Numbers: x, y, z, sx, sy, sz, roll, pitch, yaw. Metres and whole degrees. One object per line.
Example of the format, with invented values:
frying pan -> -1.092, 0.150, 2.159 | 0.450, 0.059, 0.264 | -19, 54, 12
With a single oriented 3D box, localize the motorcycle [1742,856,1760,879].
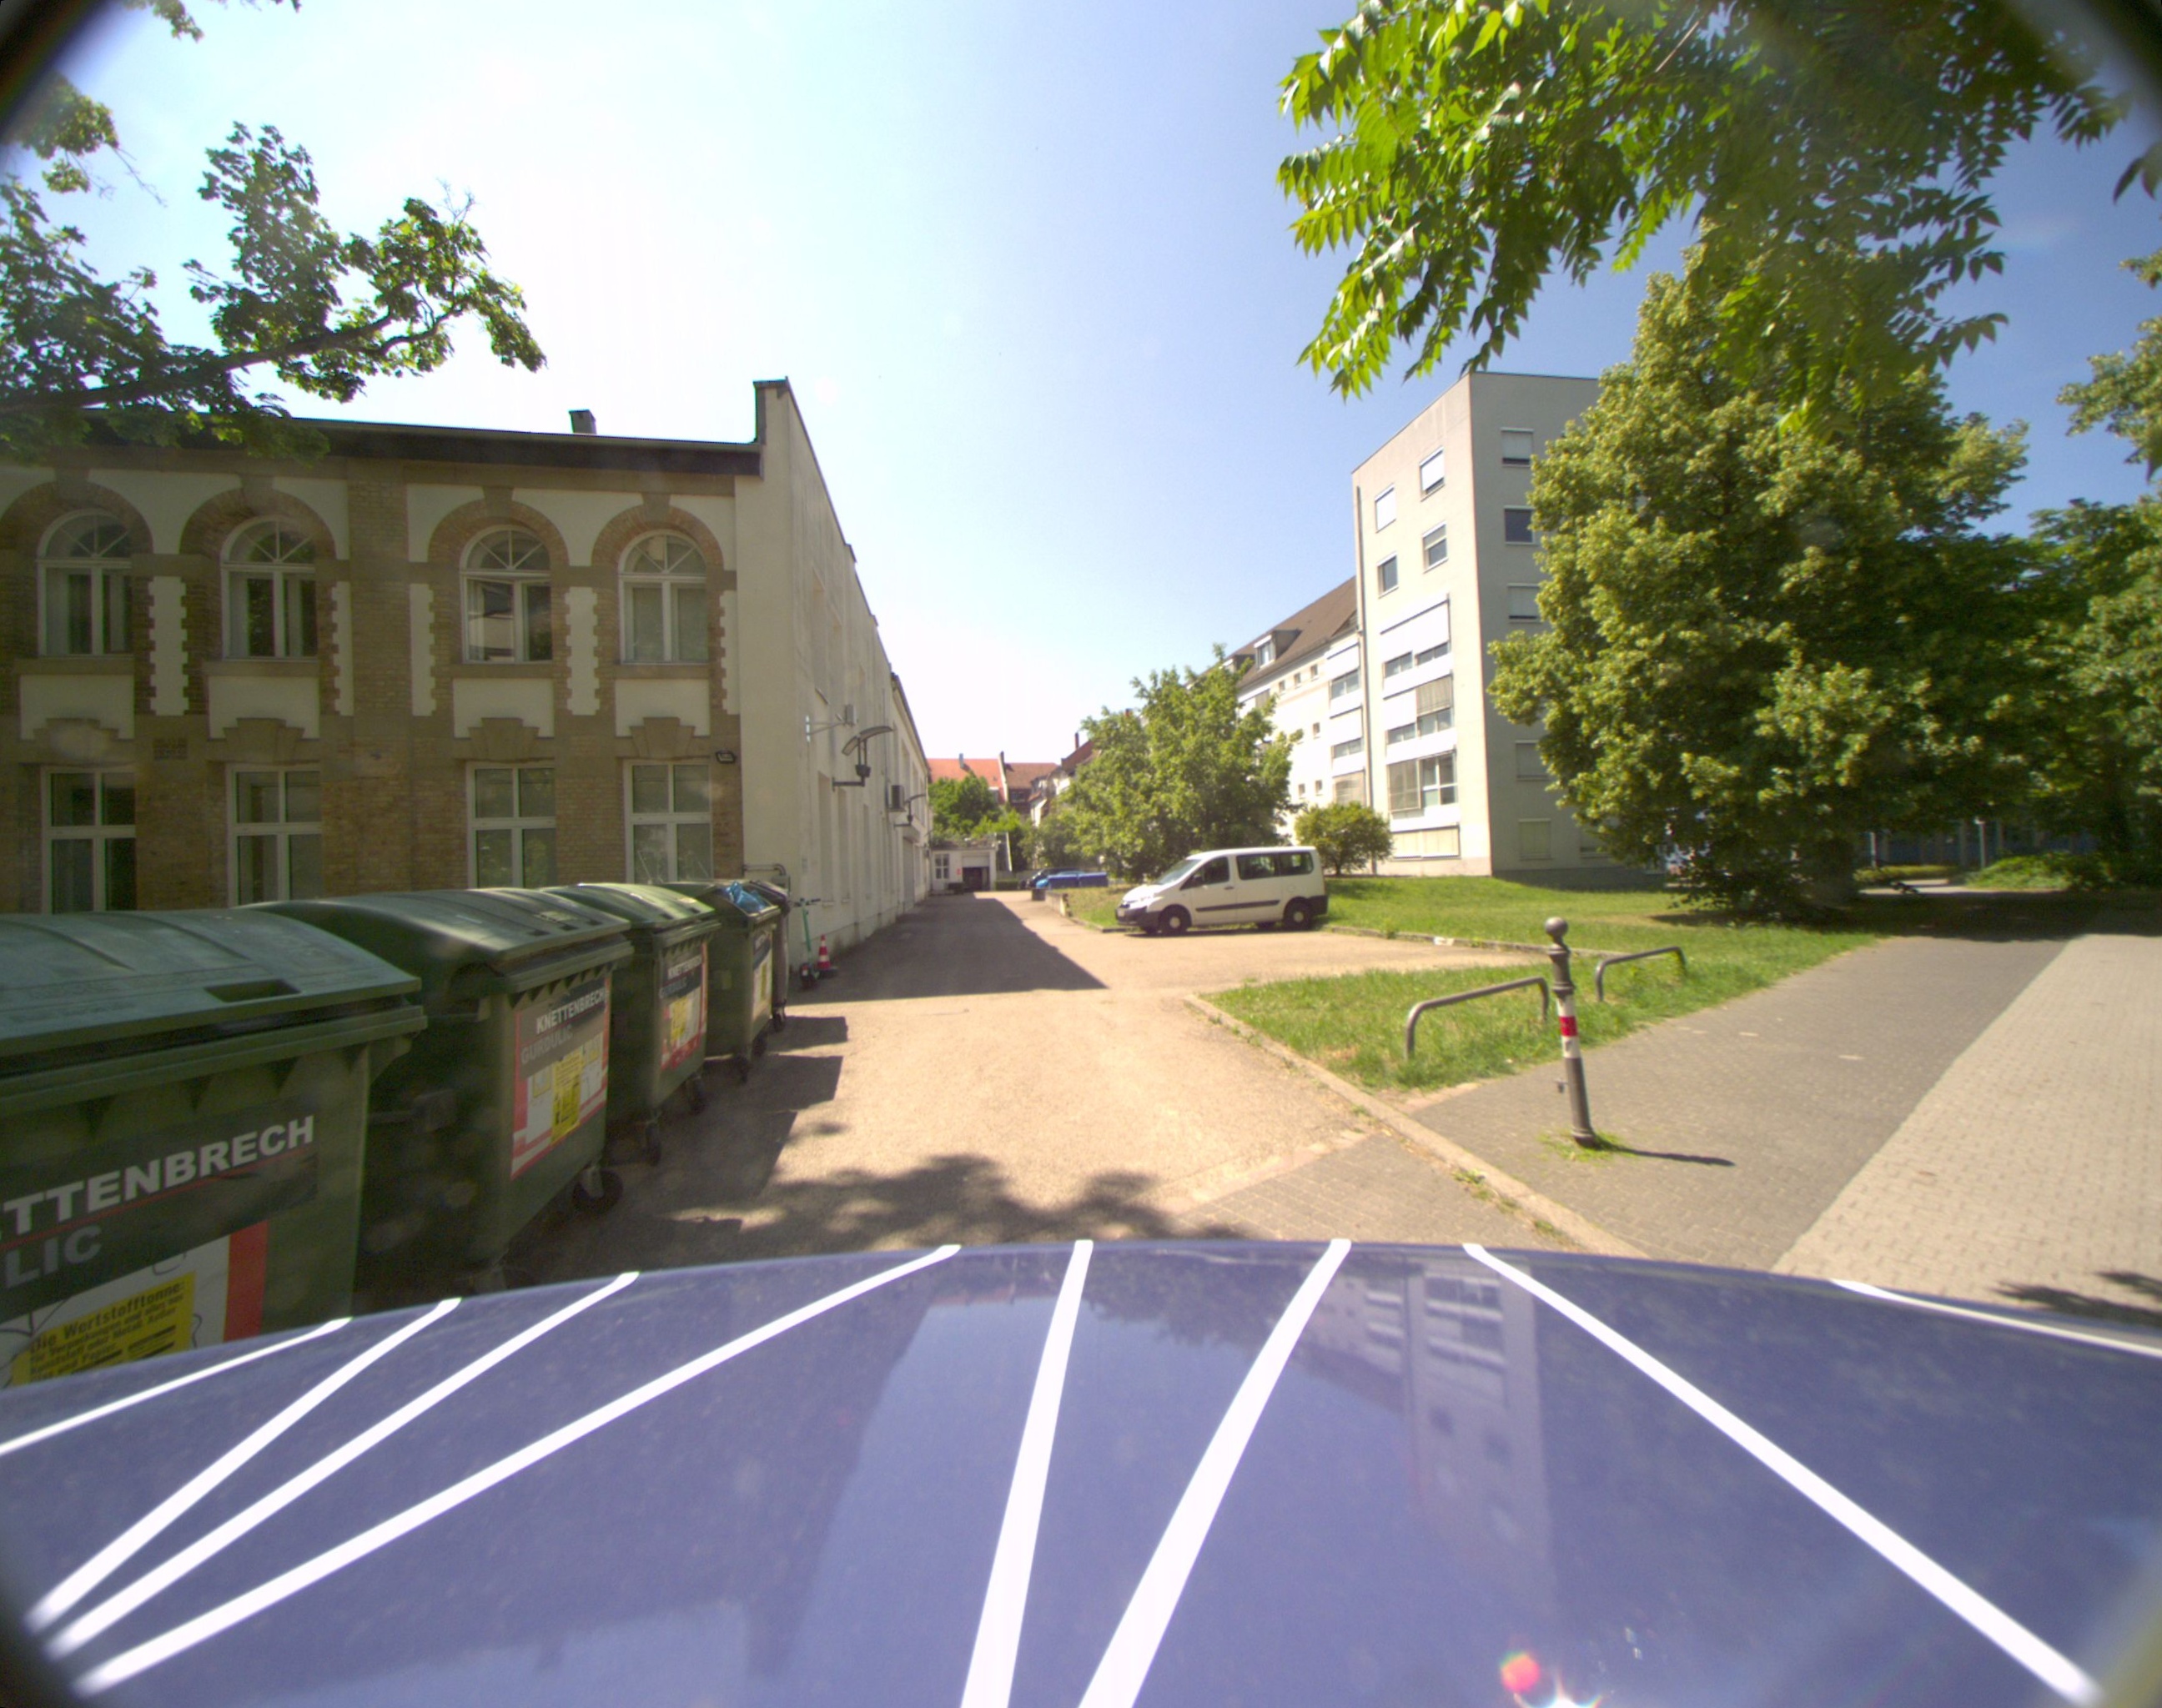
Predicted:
motorcycle -> 36.257, 0.725, 41.106 | 0.698, 1.161, 2.337 | -2, -1, 42

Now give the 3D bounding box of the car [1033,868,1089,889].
car -> -1.603, 1.948, 60.450 | 4.171, 1.544, 1.858 | -2, -1, -14

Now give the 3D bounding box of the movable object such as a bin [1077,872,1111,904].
movable object such as a bin -> 0.555, 1.446, 32.839 | 1.258, 1.320, 1.103 | -2, -1, -9

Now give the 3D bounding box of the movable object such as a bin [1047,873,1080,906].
movable object such as a bin -> -0.751, 1.498, 32.625 | 1.258, 1.320, 1.103 | -2, -1, -9

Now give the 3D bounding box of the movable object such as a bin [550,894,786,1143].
movable object such as a bin -> -2.918, 1.082, 5.592 | 1.183, 1.461, 1.310 | -2, 1, -15

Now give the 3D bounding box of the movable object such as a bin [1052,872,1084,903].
movable object such as a bin -> -0.590, 1.516, 34.449 | 1.258, 1.320, 1.103 | -2, -1, -9

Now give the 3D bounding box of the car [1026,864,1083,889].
car -> -2.225, 1.843, 63.218 | 4.452, 1.821, 1.998 | -2, 0, -12

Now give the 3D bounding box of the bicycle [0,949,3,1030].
bicycle -> -13.683, 1.623, 8.553 | 0.589, 1.136, 1.841 | -2, -1, -7

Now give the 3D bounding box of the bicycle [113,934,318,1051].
bicycle -> -10.218, 1.579, 9.079 | 0.523, 1.096, 1.834 | -2, -1, -7

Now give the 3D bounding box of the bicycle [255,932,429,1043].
bicycle -> -8.943, 1.562, 9.303 | 0.504, 1.061, 1.834 | -2, -1, -7

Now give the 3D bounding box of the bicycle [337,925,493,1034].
bicycle -> -8.206, 1.497, 9.471 | 0.504, 1.061, 1.834 | -2, -1, -7

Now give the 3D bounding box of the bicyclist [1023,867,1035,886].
bicyclist -> -4.545, 1.934, 66.633 | 0.724, 1.599, 0.979 | -3, 0, 9

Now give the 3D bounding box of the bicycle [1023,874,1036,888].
bicycle -> -4.519, 2.399, 66.745 | 0.645, 1.167, 1.906 | -2, -1, 9

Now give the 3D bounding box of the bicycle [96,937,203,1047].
bicycle -> -11.230, 1.611, 9.210 | 0.473, 1.096, 1.831 | -1, -2, -40

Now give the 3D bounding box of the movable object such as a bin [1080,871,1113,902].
movable object such as a bin -> 0.701, 1.464, 34.693 | 1.258, 1.320, 1.103 | -2, -1, -9

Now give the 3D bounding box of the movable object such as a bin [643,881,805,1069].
movable object such as a bin -> -3.326, 1.057, 7.283 | 1.159, 1.496, 1.460 | -2, 1, -18

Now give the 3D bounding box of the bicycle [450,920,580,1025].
bicycle -> -7.091, 1.433, 9.634 | 0.455, 1.061, 1.834 | -2, -1, -7

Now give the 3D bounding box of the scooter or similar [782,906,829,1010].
scooter or similar -> -3.558, 1.299, 9.859 | 0.465, 1.167, 1.355 | -2, 0, -17

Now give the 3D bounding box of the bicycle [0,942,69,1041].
bicycle -> -12.902, 1.646, 8.622 | 0.523, 1.093, 1.841 | -2, -1, -7

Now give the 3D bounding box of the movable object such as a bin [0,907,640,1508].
movable object such as a bin -> -2.526, 0.999, 2.795 | 1.183, 1.461, 1.310 | -2, 1, -14

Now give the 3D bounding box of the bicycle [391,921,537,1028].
bicycle -> -7.640, 1.447, 9.514 | 0.504, 1.061, 1.834 | -2, -1, -7

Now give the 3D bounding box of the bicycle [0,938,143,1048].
bicycle -> -12.142, 1.603, 8.765 | 0.523, 1.063, 1.834 | -2, -1, -7

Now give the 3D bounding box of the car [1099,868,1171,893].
car -> 3.223, 1.589, 45.850 | 4.001, 1.428, 1.710 | -1, -1, -12

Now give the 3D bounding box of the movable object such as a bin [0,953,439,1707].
movable object such as a bin -> -2.279, 1.006, 1.276 | 1.181, 1.461, 1.333 | -2, 1, 3

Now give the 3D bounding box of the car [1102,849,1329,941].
car -> 3.102, 0.920, 17.870 | 4.806, 1.899, 1.998 | -1, -2, -13

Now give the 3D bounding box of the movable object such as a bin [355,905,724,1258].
movable object such as a bin -> -2.812, 1.085, 4.209 | 1.183, 1.461, 1.310 | -2, 1, -12
